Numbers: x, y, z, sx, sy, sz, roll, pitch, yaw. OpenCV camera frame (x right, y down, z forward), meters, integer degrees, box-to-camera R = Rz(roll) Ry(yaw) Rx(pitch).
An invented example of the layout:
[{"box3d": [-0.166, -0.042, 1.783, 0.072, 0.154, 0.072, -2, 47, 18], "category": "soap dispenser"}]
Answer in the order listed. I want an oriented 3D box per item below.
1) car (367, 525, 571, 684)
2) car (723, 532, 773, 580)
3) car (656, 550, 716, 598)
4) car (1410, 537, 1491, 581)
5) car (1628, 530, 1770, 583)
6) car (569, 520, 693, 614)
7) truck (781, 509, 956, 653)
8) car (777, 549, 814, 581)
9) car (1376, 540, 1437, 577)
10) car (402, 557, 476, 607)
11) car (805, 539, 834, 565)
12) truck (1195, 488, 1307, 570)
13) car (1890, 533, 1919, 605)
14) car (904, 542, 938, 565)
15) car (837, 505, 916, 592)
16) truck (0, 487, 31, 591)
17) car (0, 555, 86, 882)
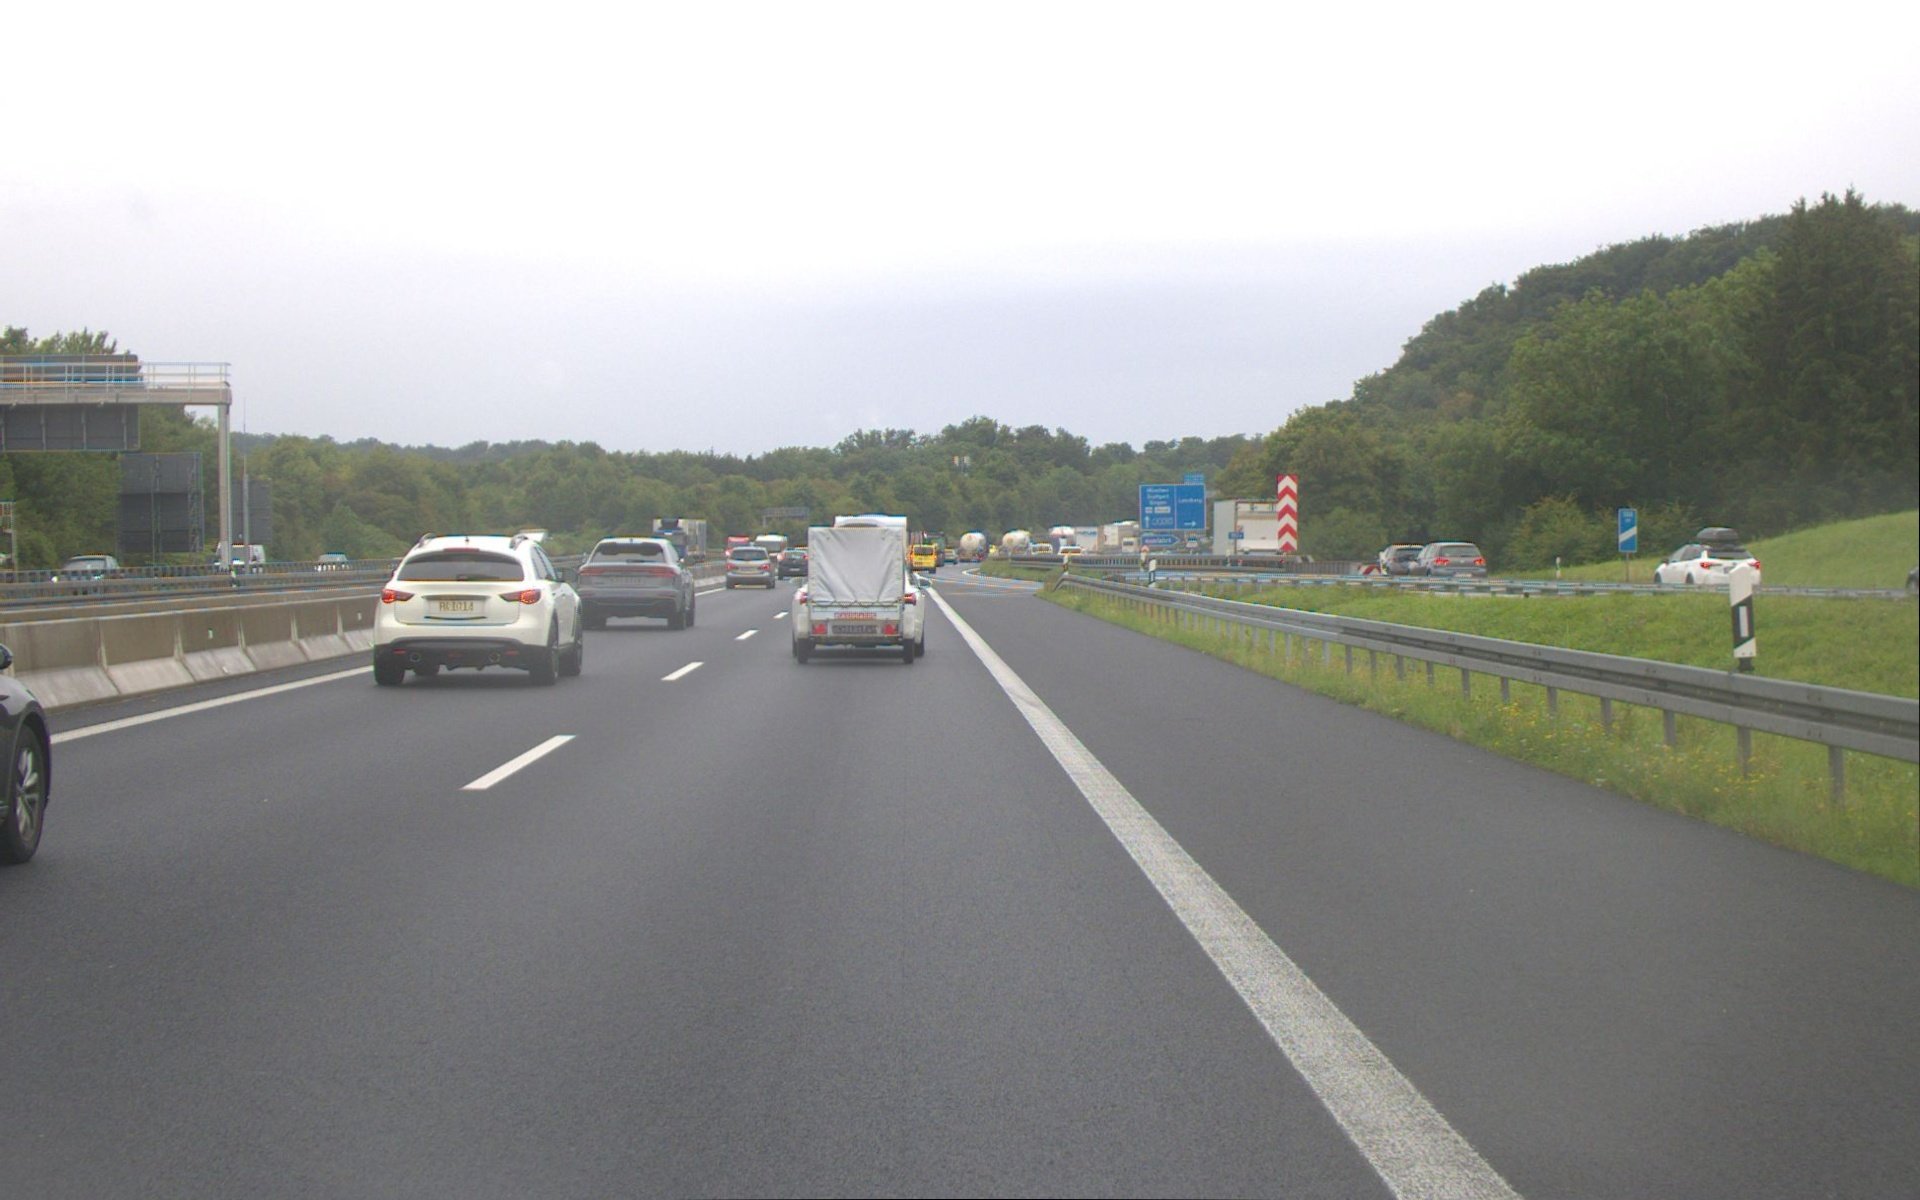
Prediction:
[{"box3d": [-5.461, 0.008, 38.718, 2.048, 1.665, 4.542, 1, 1, -5], "category": "car"}, {"box3d": [-8.024, -1.692, 130.470, 1.738, 1.787, 4.000, 1, 1, -1], "category": "car"}, {"box3d": [-9.689, -0.923, 121.778, 1.819, 1.656, 4.017, 0, 1, -1], "category": "car"}, {"box3d": [14.875, -1.239, 104.440, 1.539, 1.284, 3.536, 1, 1, -7], "category": "car"}, {"box3d": [19.657, -1.159, 91.656, 1.985, 1.372, 5.080, 0, 1, -9], "category": "car"}, {"box3d": [-6.167, -0.652, 64.834, 1.975, 1.697, 4.803, 1, 1, -1], "category": "car"}, {"box3d": [-1.279, -0.302, 47.525, 2.242, 1.833, 6.585, 0, 1, -2], "category": "truck"}, {"box3d": [-8.225, -1.770, 172.117, 1.645, 1.568, 4.000, 1, 1, -1], "category": "car"}, {"box3d": [16.468, -1.527, 126.896, 1.697, 1.284, 3.535, 1, 1, -1], "category": "car"}, {"box3d": [-18.215, -0.664, 120.454, 1.993, 1.645, 5.027, 1, 1, -2], "category": "car"}, {"box3d": [-8.670, -2.985, 212.080, 1.645, 1.568, 4.000, 1, 1, -1], "category": "car"}, {"box3d": [13.499, -3.273, 160.282, 3.824, 3.646, 8.273, 1, 1, -5], "category": "truck"}, {"box3d": [19.290, -0.562, 64.072, 1.986, 1.372, 5.320, 0, 1, -6], "category": "car"}, {"box3d": [-2.740, -3.271, 241.666, 1.993, 1.546, 4.001, 1, 1, -6], "category": "car"}, {"box3d": [-2.739, -1.665, 111.309, 2.331, 2.716, 6.541, 0, 1, -3], "category": "car"}, {"box3d": [-35.013, -2.131, 120.301, 2.685, 3.648, 9.559, -1, 1, -2], "category": "truck"}, {"box3d": [-5.174, 0.540, 14.456, 1.787, 1.454, 4.802, 1, 1, 0], "category": "car"}]
